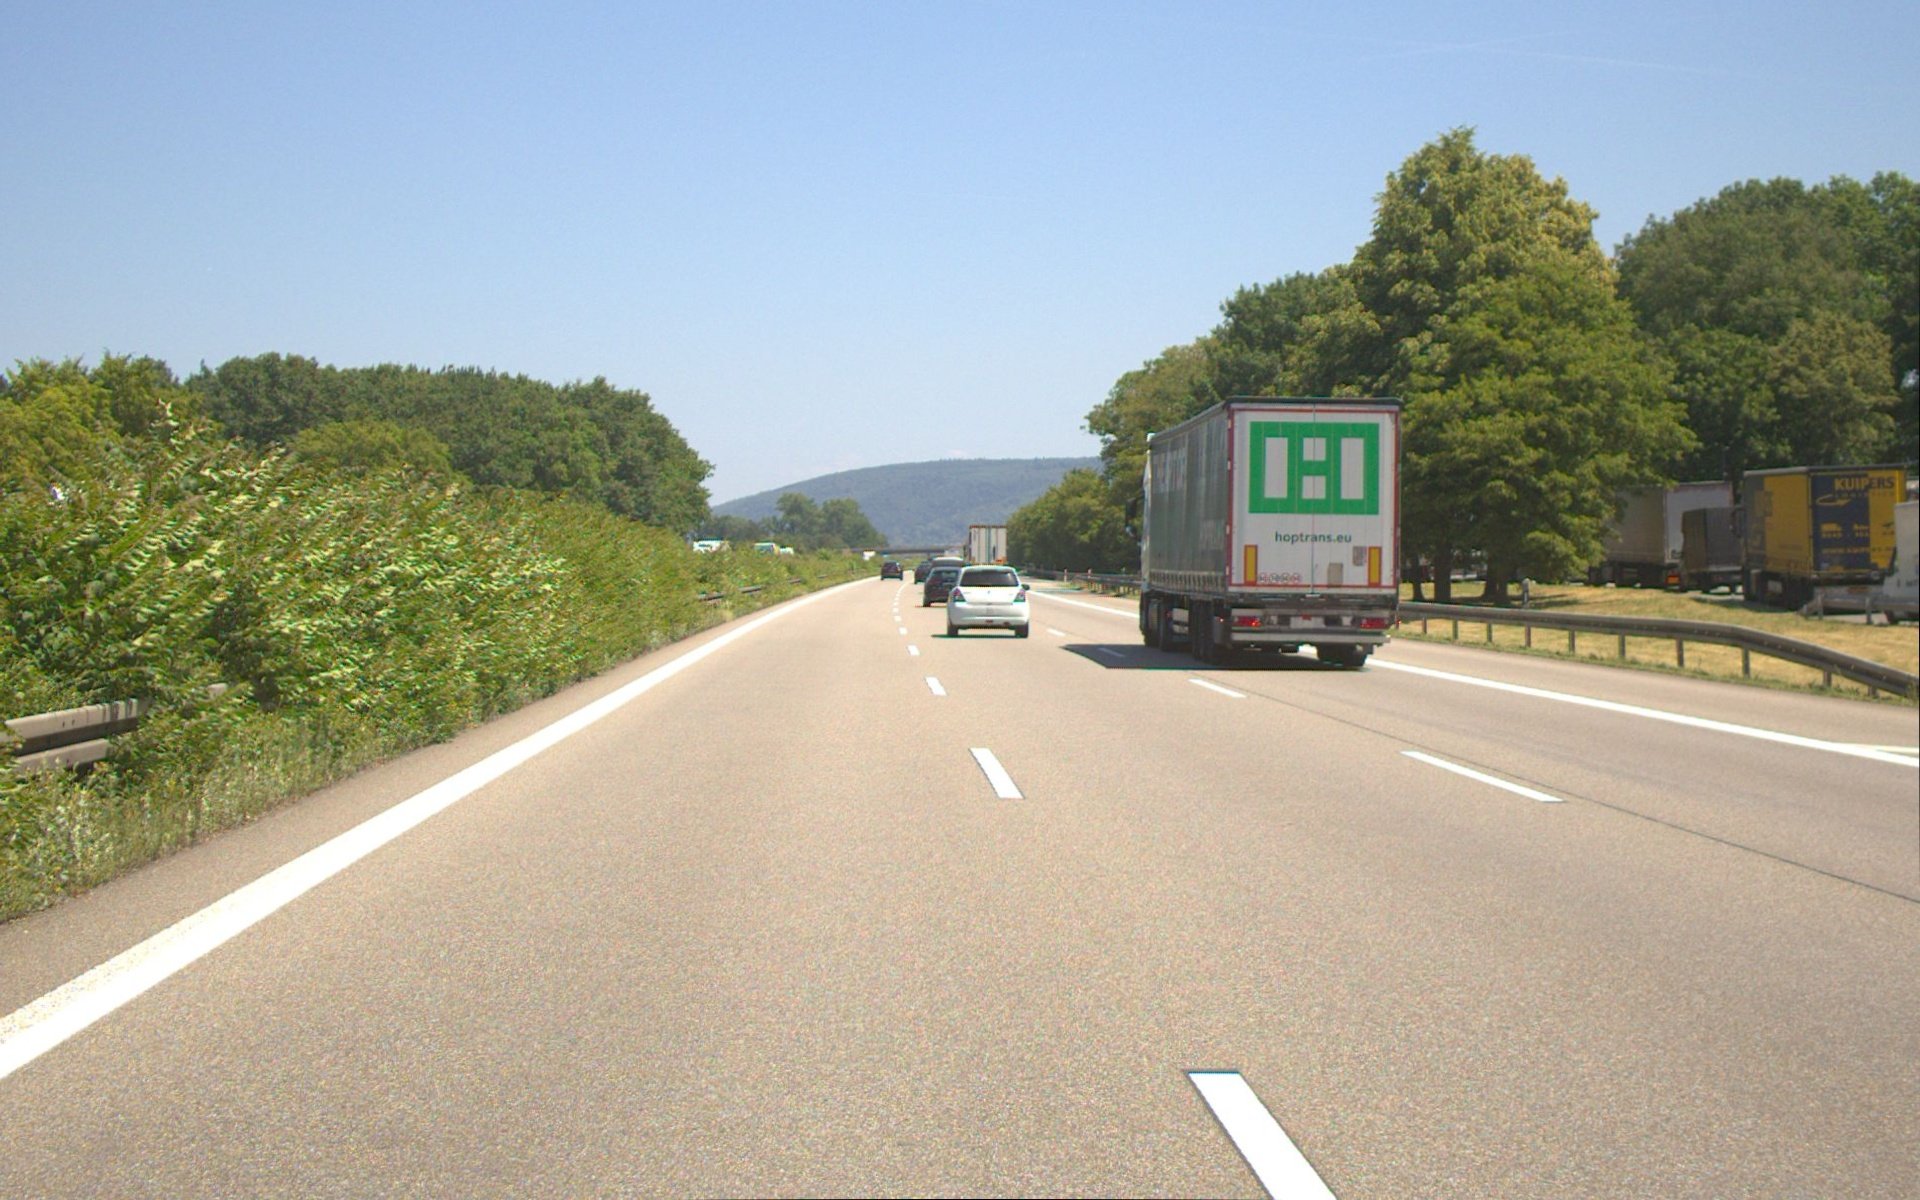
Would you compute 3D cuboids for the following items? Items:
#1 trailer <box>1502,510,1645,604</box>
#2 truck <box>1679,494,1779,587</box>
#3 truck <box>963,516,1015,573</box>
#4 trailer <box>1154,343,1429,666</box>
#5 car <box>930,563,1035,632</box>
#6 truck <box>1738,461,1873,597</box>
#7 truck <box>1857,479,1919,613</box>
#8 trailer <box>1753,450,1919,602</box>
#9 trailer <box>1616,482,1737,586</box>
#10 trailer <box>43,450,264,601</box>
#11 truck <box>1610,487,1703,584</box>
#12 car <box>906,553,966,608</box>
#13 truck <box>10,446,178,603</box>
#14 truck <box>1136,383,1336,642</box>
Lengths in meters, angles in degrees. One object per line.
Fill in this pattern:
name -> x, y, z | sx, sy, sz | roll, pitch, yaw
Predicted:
trailer -> 27.104, -1.918, 152.800 | 3.135, 3.939, 14.198 | -1, 1, -3
truck -> 26.662, -2.054, 119.361 | 2.468, 3.076, 6.616 | 1, 1, 5
truck -> 1.913, -3.802, 236.334 | 3.325, 3.744, 12.796 | 1, 1, 0
trailer -> 5.086, -1.458, 55.265 | 3.182, 4.611, 12.051 | 0, 1, 0
car -> 0.453, -0.075, 73.232 | 1.811, 1.400, 3.318 | 0, 1, -7
truck -> 25.038, -2.086, 102.105 | 3.185, 3.921, 6.615 | 0, 1, 8
truck -> 22.273, -1.203, 77.083 | 2.468, 2.936, 7.659 | 0, 1, 1
trailer -> 24.059, -1.995, 94.890 | 3.185, 3.921, 11.547 | 0, 1, 8
trailer -> 27.386, -2.501, 131.976 | 3.103, 3.777, 13.360 | 1, 1, 6
trailer -> -20.398, -1.840, 87.906 | 2.963, 3.557, 13.435 | 0, 1, -2
truck -> 28.038, -2.579, 138.602 | 3.089, 3.777, 5.315 | 1, 1, 6
car -> -0.830, -0.708, 121.775 | 1.897, 1.886, 4.000 | -1, 1, 2
truck -> -20.120, -1.735, 80.100 | 2.963, 3.546, 4.223 | 0, 1, -2
truck -> 5.035, -1.585, 63.843 | 3.182, 4.591, 5.948 | 0, 1, 0
